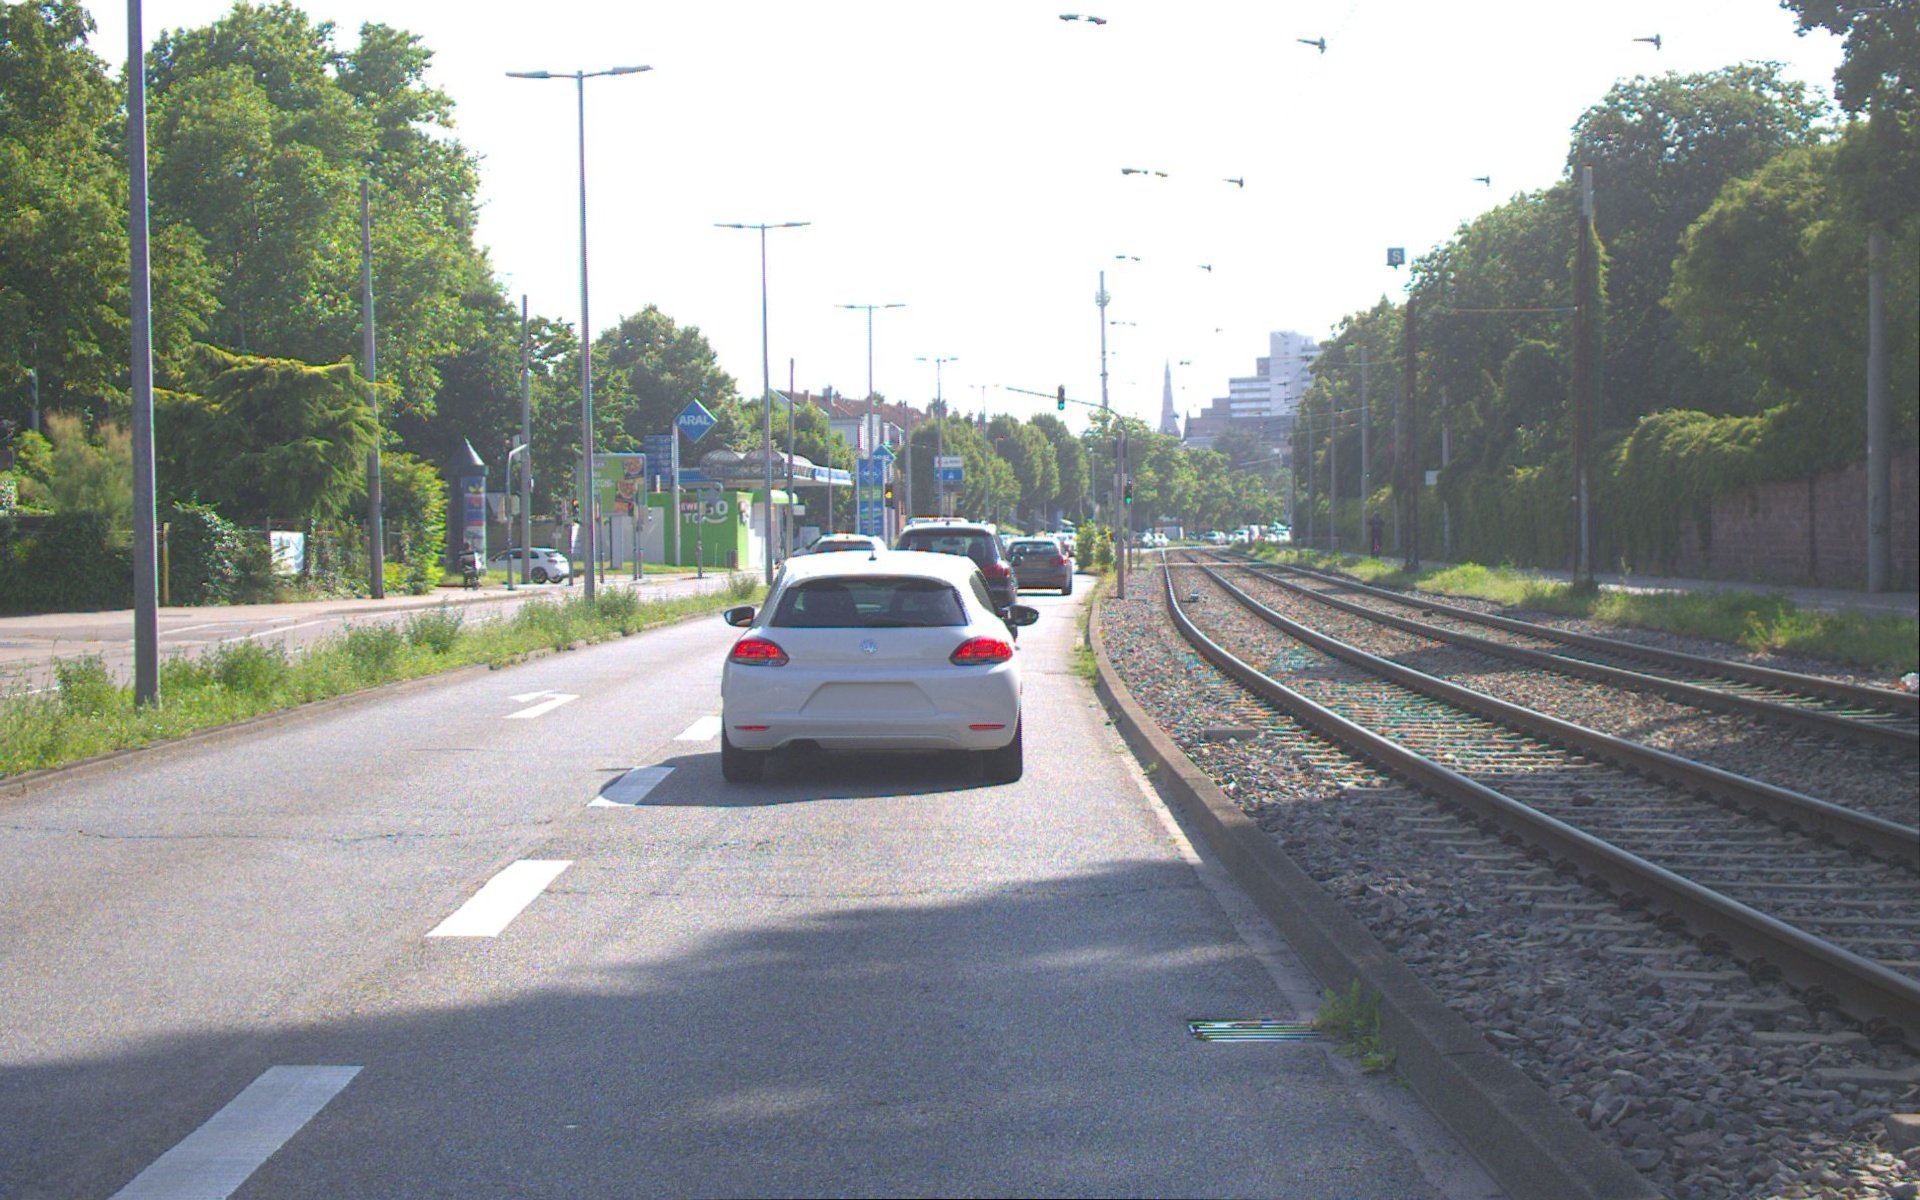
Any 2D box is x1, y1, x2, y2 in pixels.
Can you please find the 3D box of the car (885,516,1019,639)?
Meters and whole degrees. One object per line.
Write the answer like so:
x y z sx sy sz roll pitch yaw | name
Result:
-0.117 -0.330 46.736 1.724 1.587 3.601 1 1 0 | car

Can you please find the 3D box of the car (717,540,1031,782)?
-0.507 0.320 21.582 1.781 1.351 3.601 1 1 0 | car

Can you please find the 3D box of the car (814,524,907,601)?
-2.000 -0.787 70.011 1.760 1.480 4.645 1 1 0 | car

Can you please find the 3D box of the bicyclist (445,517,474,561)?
-16.477 -2.007 113.210 0.662 1.447 1.050 -1 1 7 | bicyclist

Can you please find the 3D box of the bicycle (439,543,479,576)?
-16.477 -1.347 113.155 0.662 1.046 2.580 -1 1 7 | bicycle

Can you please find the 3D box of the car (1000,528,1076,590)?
1.915 -1.037 85.213 1.749 1.480 3.601 1 1 0 | car

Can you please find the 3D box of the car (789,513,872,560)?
-4.950 -2.419 131.113 1.650 1.728 3.953 1 1 -27 | car

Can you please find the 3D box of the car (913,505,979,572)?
-0.407 -1.839 103.711 1.818 1.956 4.402 -1 1 2 | car

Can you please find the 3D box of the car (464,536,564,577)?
-17.902 -1.749 138.024 3.591 1.583 1.697 2 1 22 | car
